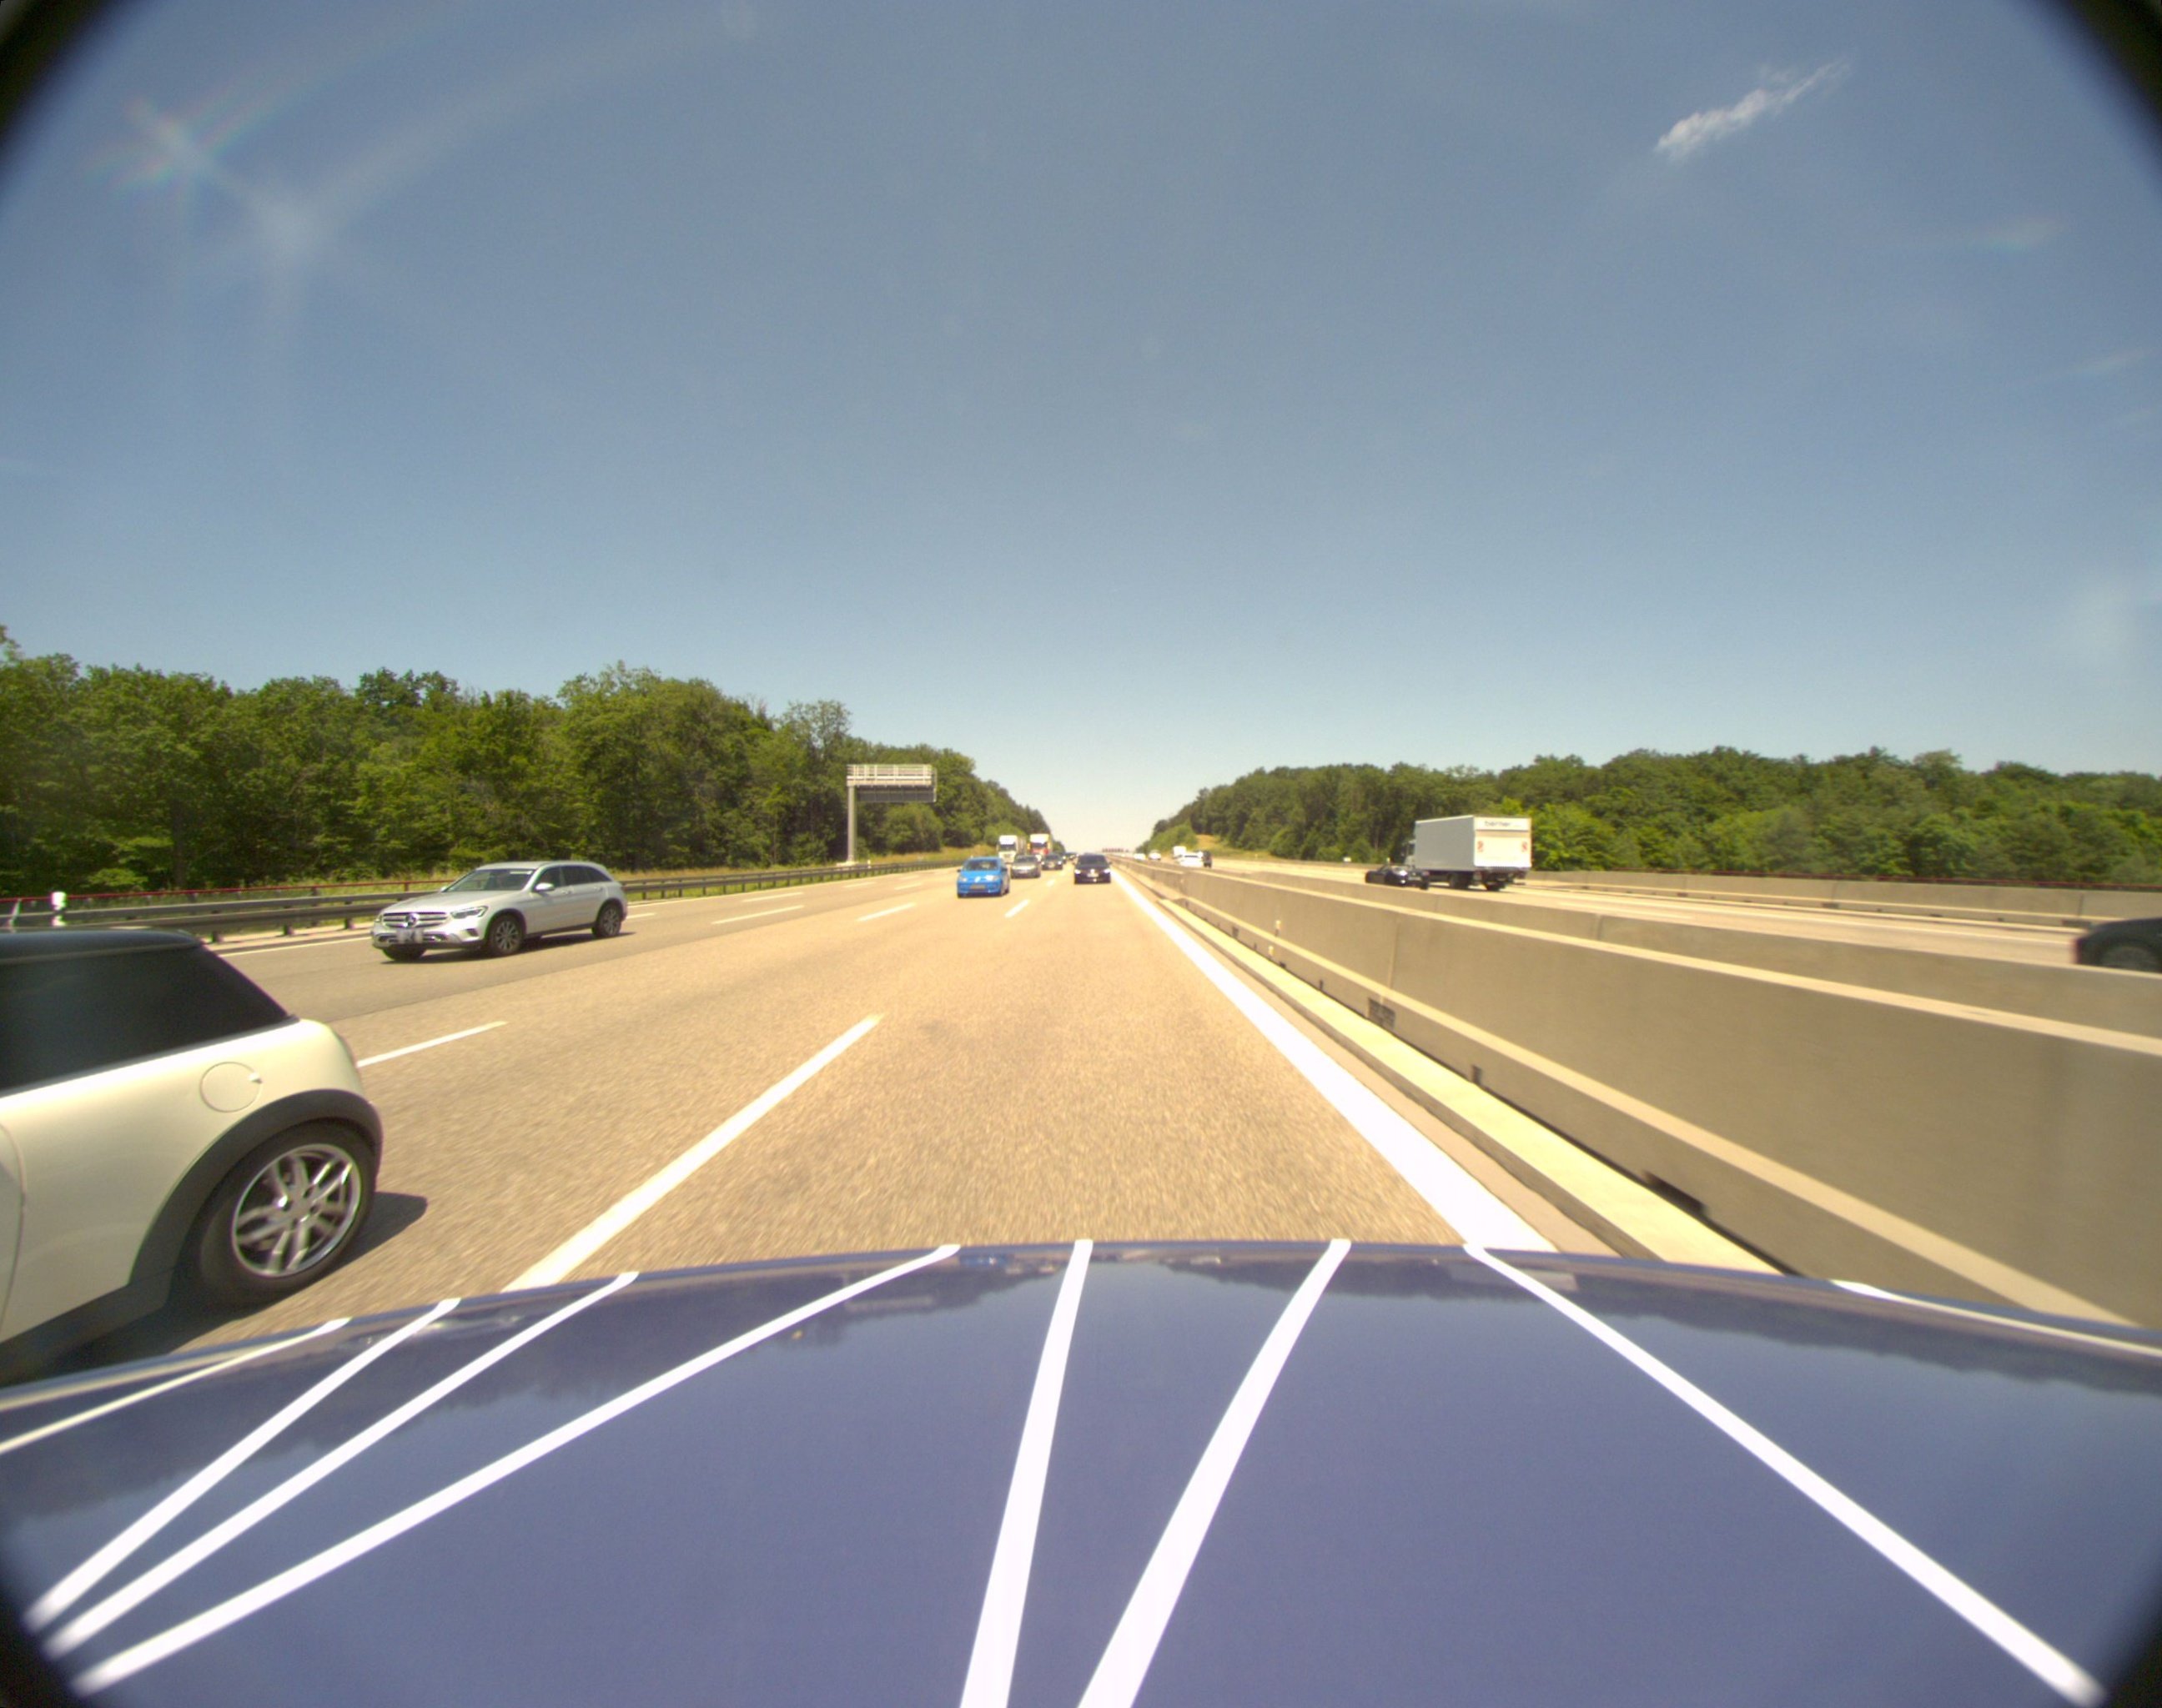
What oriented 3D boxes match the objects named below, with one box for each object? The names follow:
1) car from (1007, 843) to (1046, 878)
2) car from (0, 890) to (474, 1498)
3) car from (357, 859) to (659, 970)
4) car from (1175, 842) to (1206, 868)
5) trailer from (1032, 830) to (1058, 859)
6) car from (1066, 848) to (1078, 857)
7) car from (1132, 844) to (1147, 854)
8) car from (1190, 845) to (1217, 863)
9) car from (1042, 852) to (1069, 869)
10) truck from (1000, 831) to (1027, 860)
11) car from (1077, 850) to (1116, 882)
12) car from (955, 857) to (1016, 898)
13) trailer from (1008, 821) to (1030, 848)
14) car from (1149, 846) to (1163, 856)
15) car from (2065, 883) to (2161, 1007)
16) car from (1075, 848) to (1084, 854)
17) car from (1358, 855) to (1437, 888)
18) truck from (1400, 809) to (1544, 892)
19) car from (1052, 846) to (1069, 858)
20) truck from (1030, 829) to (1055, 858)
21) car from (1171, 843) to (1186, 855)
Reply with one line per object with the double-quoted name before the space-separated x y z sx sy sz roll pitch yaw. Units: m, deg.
"car" -3.382 0.362 47.799 1.966 2.042 4.783 -1 1 1
"car" -3.818 0.996 1.518 1.846 1.542 4.001 -6 -1 0
"car" -10.598 0.985 14.740 1.805 1.721 5.239 -2 0 1
"car" 8.370 0.061 58.419 1.778 1.869 5.211 -2 0 2
"trailer" -5.392 -1.334 116.243 2.926 4.118 14.850 0 -1 1
"car" -1.516 -0.274 130.610 1.910 1.503 4.160 -2 0 2
"car" 9.191 -0.783 119.798 1.853 1.515 5.318 1 1 1
"car" 12.081 -0.053 75.158 1.998 1.724 4.924 0 1 1
"car" -2.294 0.581 69.494 1.971 1.444 5.225 -1 0 3
"truck" -9.990 -1.211 114.046 2.728 4.136 10.970 -2 0 1
"car" 0.782 0.577 37.689 1.777 1.425 4.144 -2 0 1
"car" -3.583 0.850 29.073 1.741 1.403 4.000 -1 1 1
"trailer" -9.850 -3.060 121.974 2.585 4.046 8.383 -2 0 1
"car" 13.294 -0.563 134.645 1.998 1.777 5.318 1 1 1
"car" 14.097 1.170 7.974 1.802 1.472 4.397 1 1 1
"car" -0.290 -0.590 161.516 1.715 1.308 3.490 0 1 1
"car" 14.474 0.744 35.058 1.802 1.368 4.531 0 1 1
"truck" 18.944 -0.189 37.599 2.546 3.550 8.575 2 1 0
"car" -2.682 -0.224 98.788 1.910 1.503 4.160 -2 0 2
"truck" -5.513 -1.425 109.392 3.018 3.957 7.541 -1 -1 1
"car" 21.153 -1.121 164.913 2.227 2.644 8.174 1 1 1
